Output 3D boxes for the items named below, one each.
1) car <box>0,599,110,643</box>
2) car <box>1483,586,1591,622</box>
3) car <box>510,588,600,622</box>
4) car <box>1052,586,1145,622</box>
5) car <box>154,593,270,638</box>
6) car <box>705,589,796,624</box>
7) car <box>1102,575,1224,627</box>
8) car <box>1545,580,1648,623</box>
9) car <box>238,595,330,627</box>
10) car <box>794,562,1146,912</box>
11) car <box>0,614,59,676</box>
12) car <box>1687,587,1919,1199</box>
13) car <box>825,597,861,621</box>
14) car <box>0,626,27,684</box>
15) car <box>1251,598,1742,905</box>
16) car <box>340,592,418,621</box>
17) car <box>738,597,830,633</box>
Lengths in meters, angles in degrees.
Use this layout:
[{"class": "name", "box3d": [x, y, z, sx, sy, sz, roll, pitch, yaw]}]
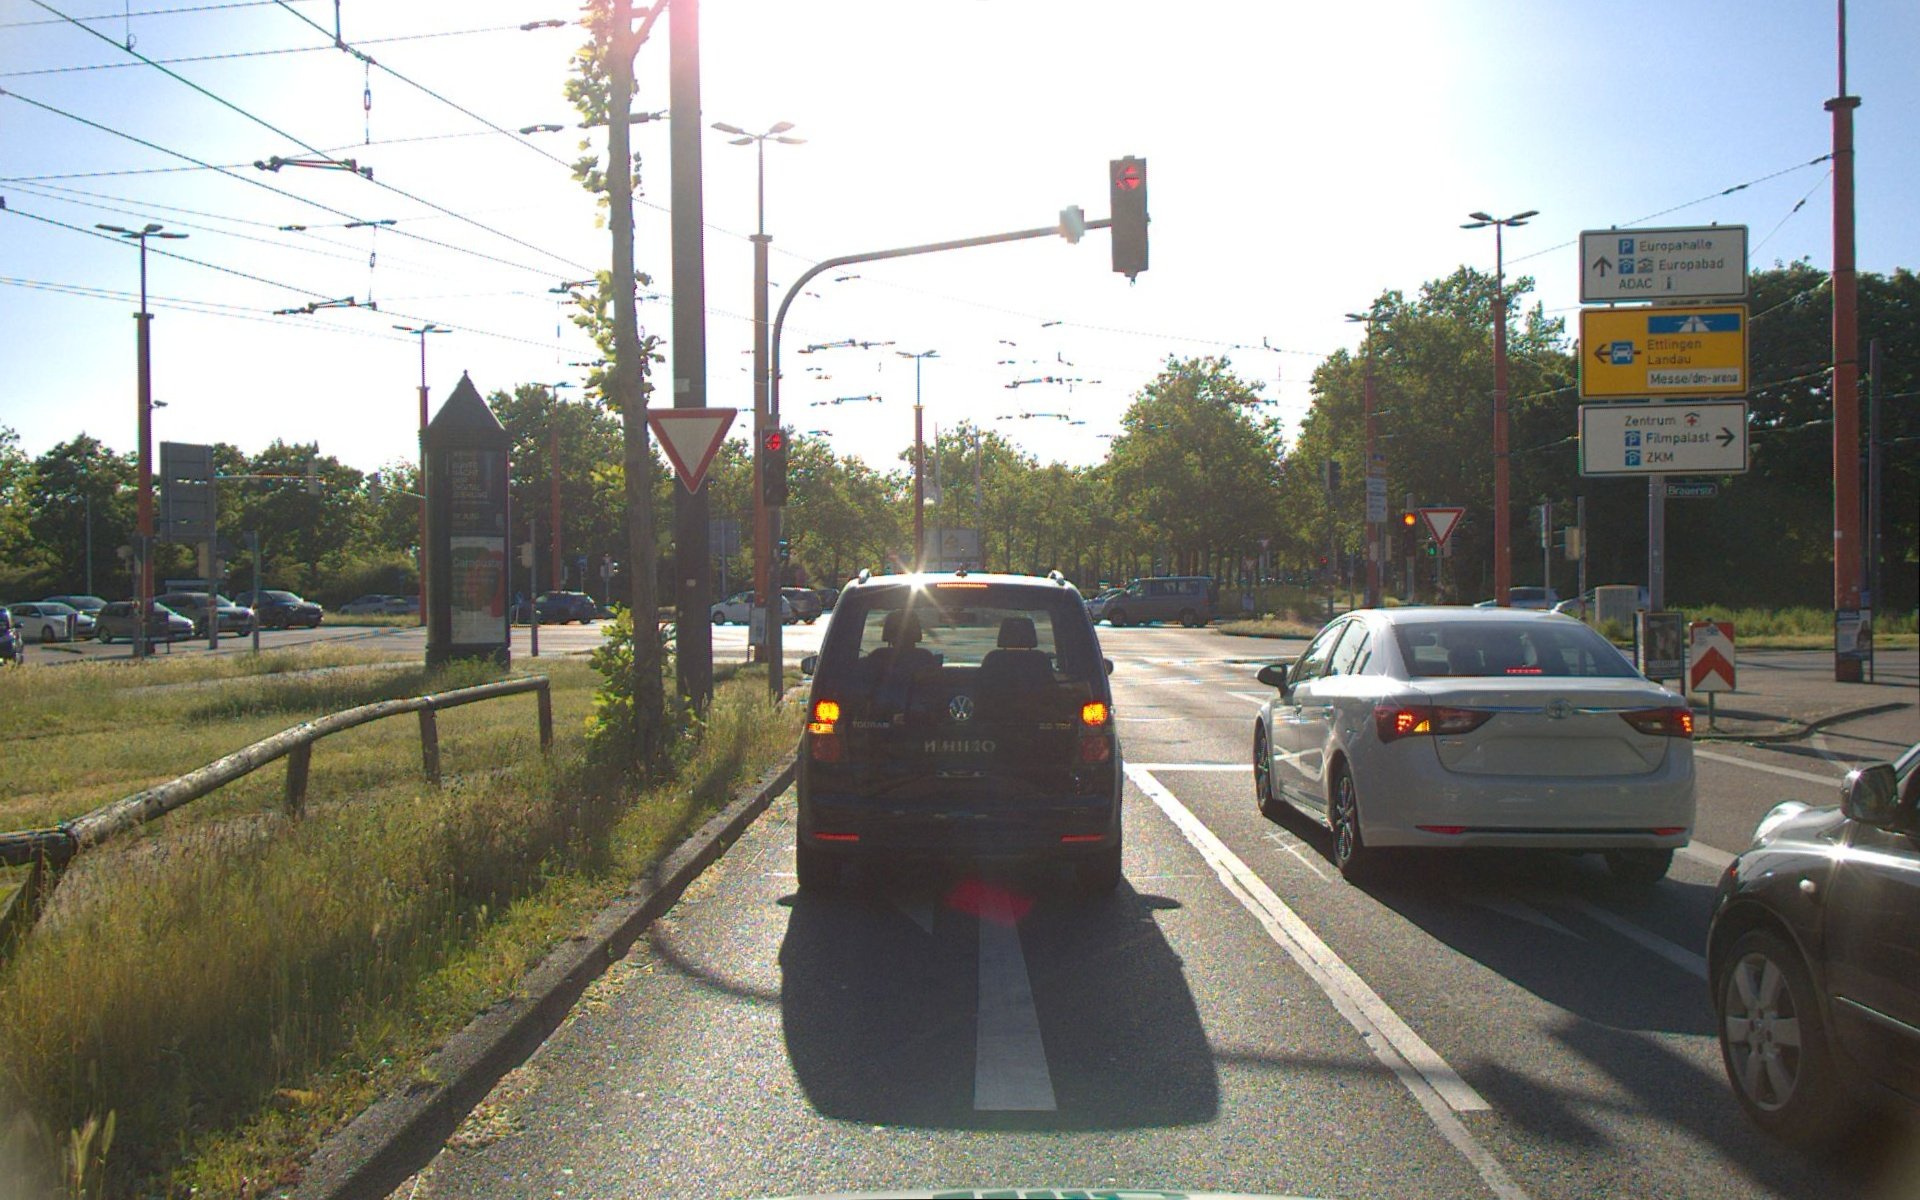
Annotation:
[{"class": "car", "box3d": [-34.686, 0.776, 63.159, 4.091, 1.640, 1.867, 0, 0, 25]}, {"class": "car", "box3d": [22.003, 0.156, 63.043, 3.752, 1.286, 1.602, 1, 0, 25]}, {"class": "car", "box3d": [-19.595, 0.245, 80.078, 4.039, 1.626, 1.827, 0, 0, 27]}, {"class": "car", "box3d": [5.970, 0.169, 71.192, 3.662, 1.499, 1.599, 0, 0, 26]}, {"class": "car", "box3d": [-28.990, 0.574, 64.114, 3.907, 1.673, 1.999, 0, 0, 24]}, {"class": "car", "box3d": [-9.456, 0.305, 74.508, 3.743, 1.549, 1.694, 0, 0, 25]}, {"class": "car", "box3d": [8.168, 0.042, 66.459, 4.479, 2.049, 1.999, 0, 0, 24]}, {"class": "car", "box3d": [22.611, 0.060, 58.784, 3.327, 1.483, 1.463, 0, 0, 26]}, {"class": "car", "box3d": [-29.272, 0.475, 71.589, 3.913, 1.353, 1.694, 0, 0, 31]}, {"class": "car", "box3d": [0.014, 0.640, 9.804, 1.666, 1.650, 3.896, 0, 0, -1]}, {"class": "car", "box3d": [-23.187, 1.054, 39.532, 1.762, 1.415, 2.848, 0, 0, -1]}, {"class": "car", "box3d": [3.178, 0.745, 3.559, 1.620, 1.526, 3.614, 1, 0, 0]}, {"class": "car", "box3d": [-8.490, 0.624, 120.115, 1.874, 1.664, 4.003, 1, 0, 6]}, {"class": "car", "box3d": [-31.798, 1.754, 53.400, 1.983, 1.761, 4.772, 0, 0, -41]}, {"class": "car", "box3d": [2.976, 0.732, 10.136, 1.685, 1.463, 4.198, 1, 0, 1]}, {"class": "car", "box3d": [-31.579, 0.343, 89.945, 3.884, 1.466, 1.686, 1, 0, 24]}, {"class": "car", "box3d": [-8.398, 0.697, 78.963, 4.039, 1.672, 1.851, 0, 0, 26]}]
